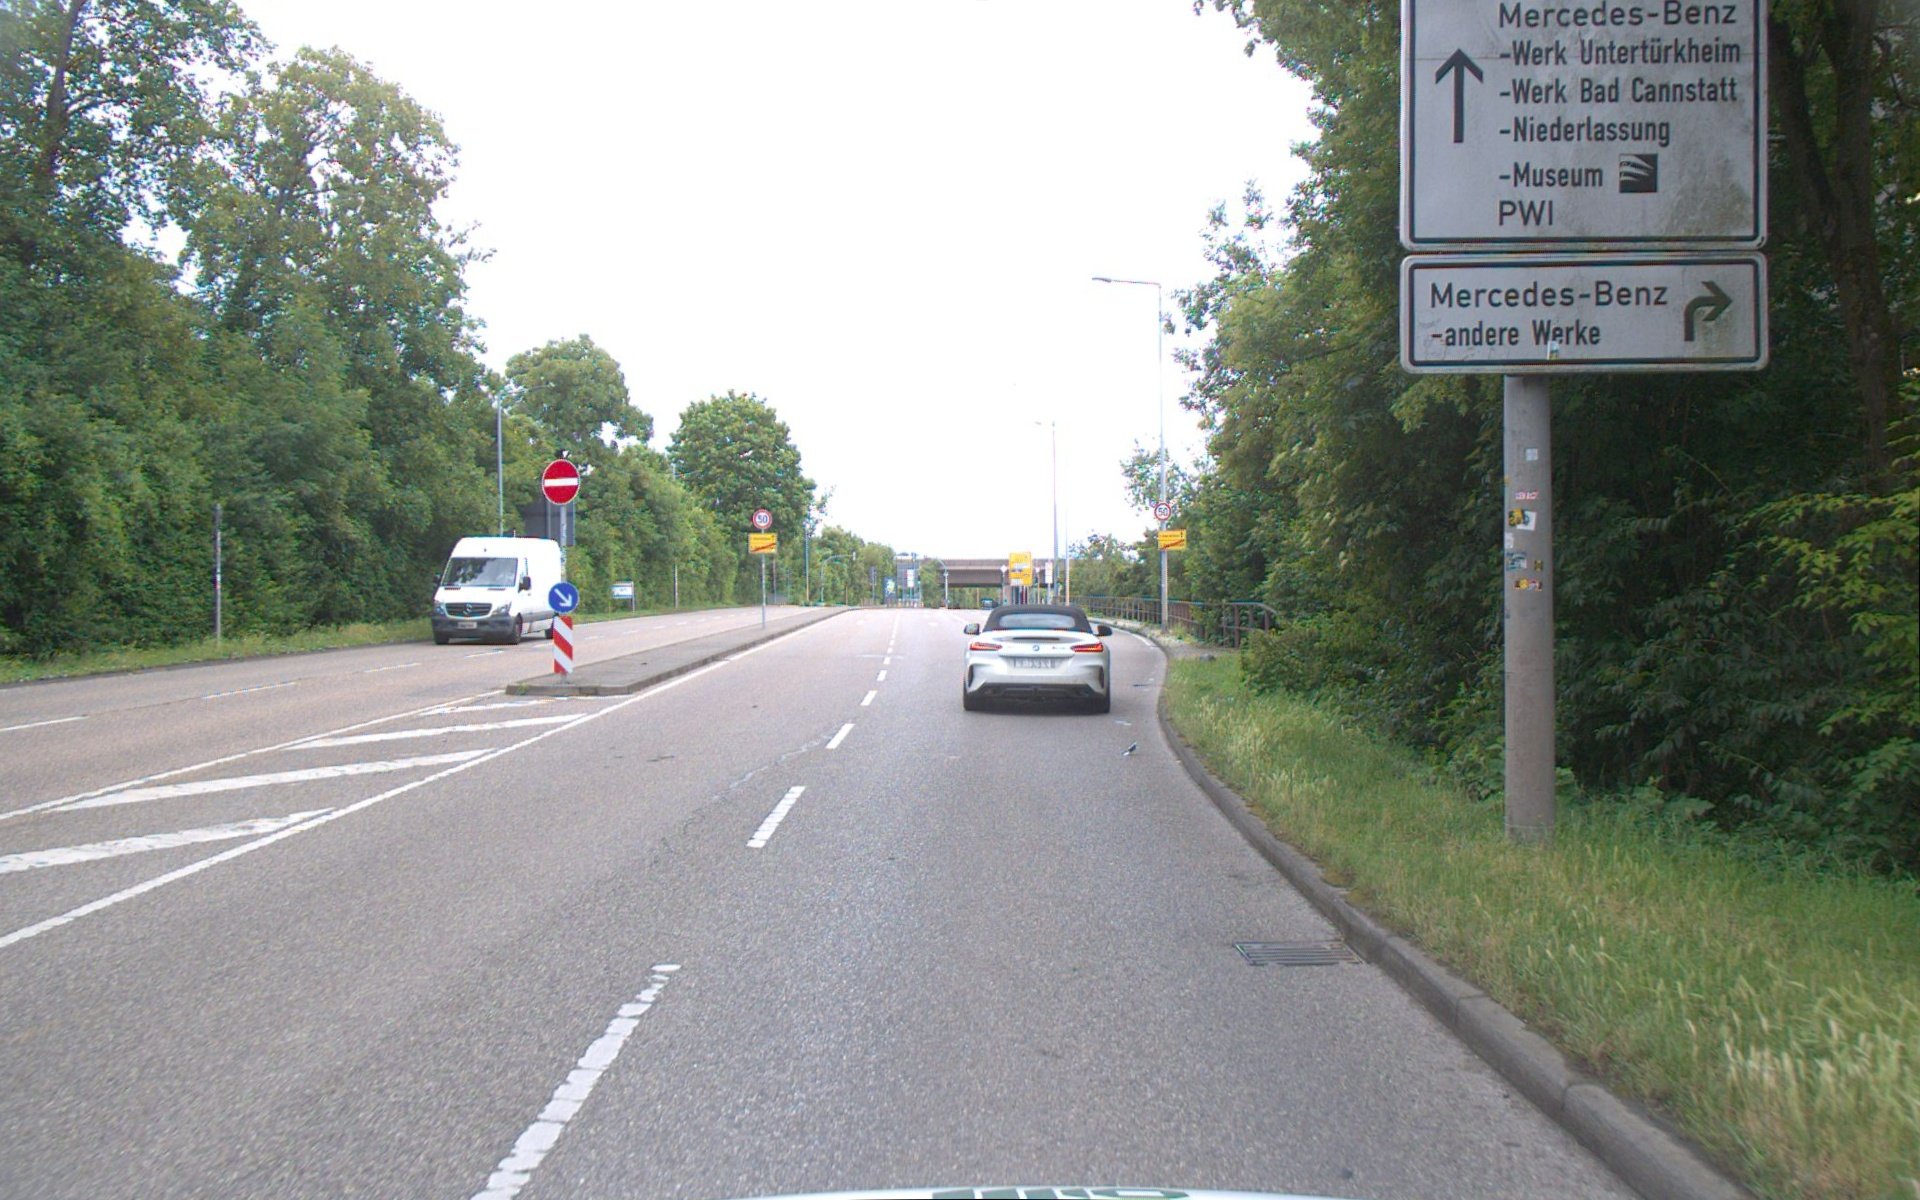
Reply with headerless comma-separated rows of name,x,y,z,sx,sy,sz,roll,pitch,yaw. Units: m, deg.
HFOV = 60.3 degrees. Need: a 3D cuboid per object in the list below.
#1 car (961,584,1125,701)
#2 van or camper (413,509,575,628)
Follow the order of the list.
car,0.988,0.482,21.568,1.837,1.332,3.872,1,1,-1
van or camper,-11.539,-0.800,41.524,2.237,2.599,6.857,3,1,-2
